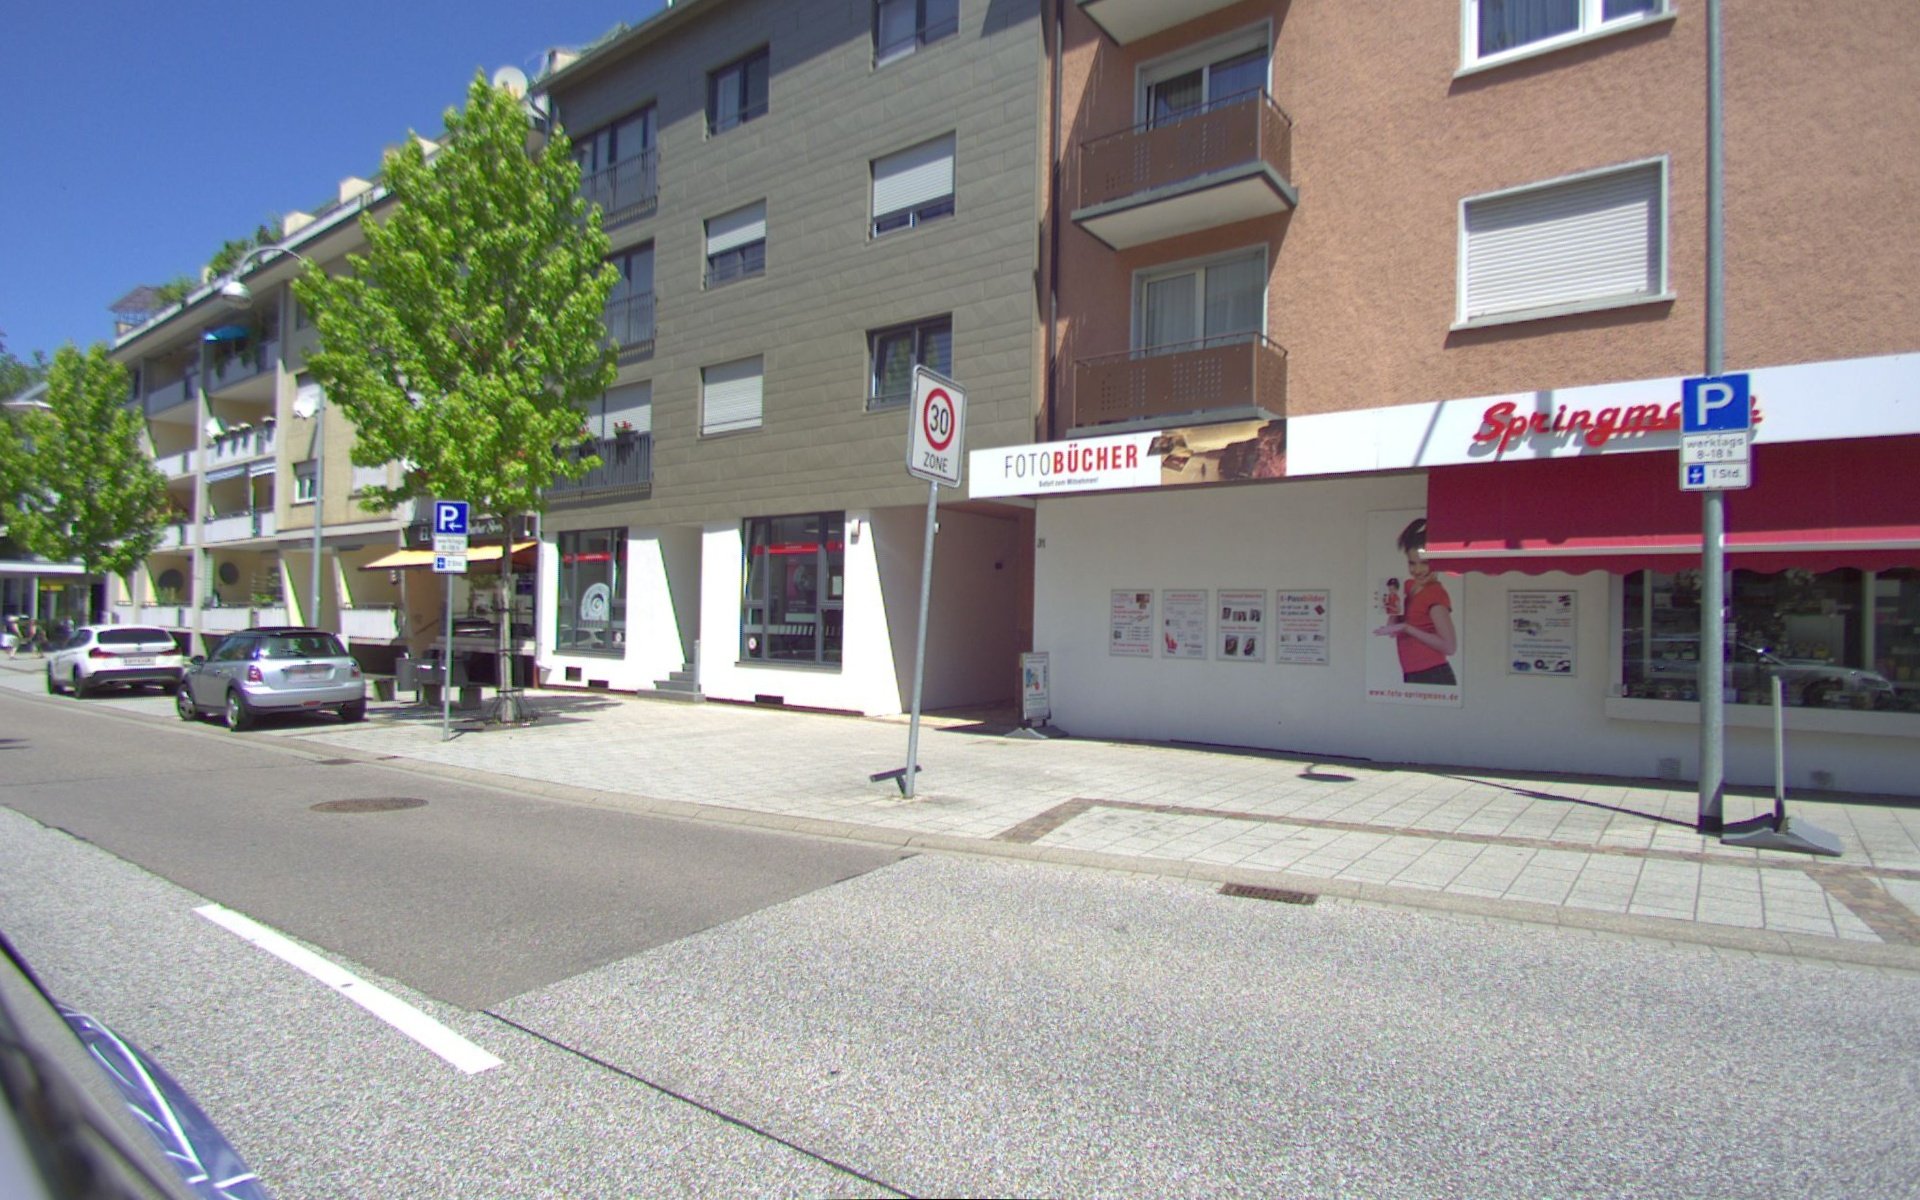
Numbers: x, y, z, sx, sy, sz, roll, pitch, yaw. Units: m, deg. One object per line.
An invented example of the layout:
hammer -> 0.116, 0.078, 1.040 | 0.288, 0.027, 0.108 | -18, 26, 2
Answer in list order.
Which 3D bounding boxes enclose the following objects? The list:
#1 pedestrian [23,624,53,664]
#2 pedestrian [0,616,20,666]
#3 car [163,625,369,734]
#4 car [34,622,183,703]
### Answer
pedestrian -> -35.068, 1.657, 38.485 | 0.697, 1.510, 0.768 | -2, -3, 43
pedestrian -> -35.283, 1.512, 37.417 | 0.657, 1.818, 0.687 | 2, -3, -38
car -> -10.687, 1.131, 15.519 | 3.543, 1.485, 1.606 | -1, -2, 38
car -> -18.777, 1.302, 22.263 | 4.294, 1.604, 1.679 | -1, -1, 38
